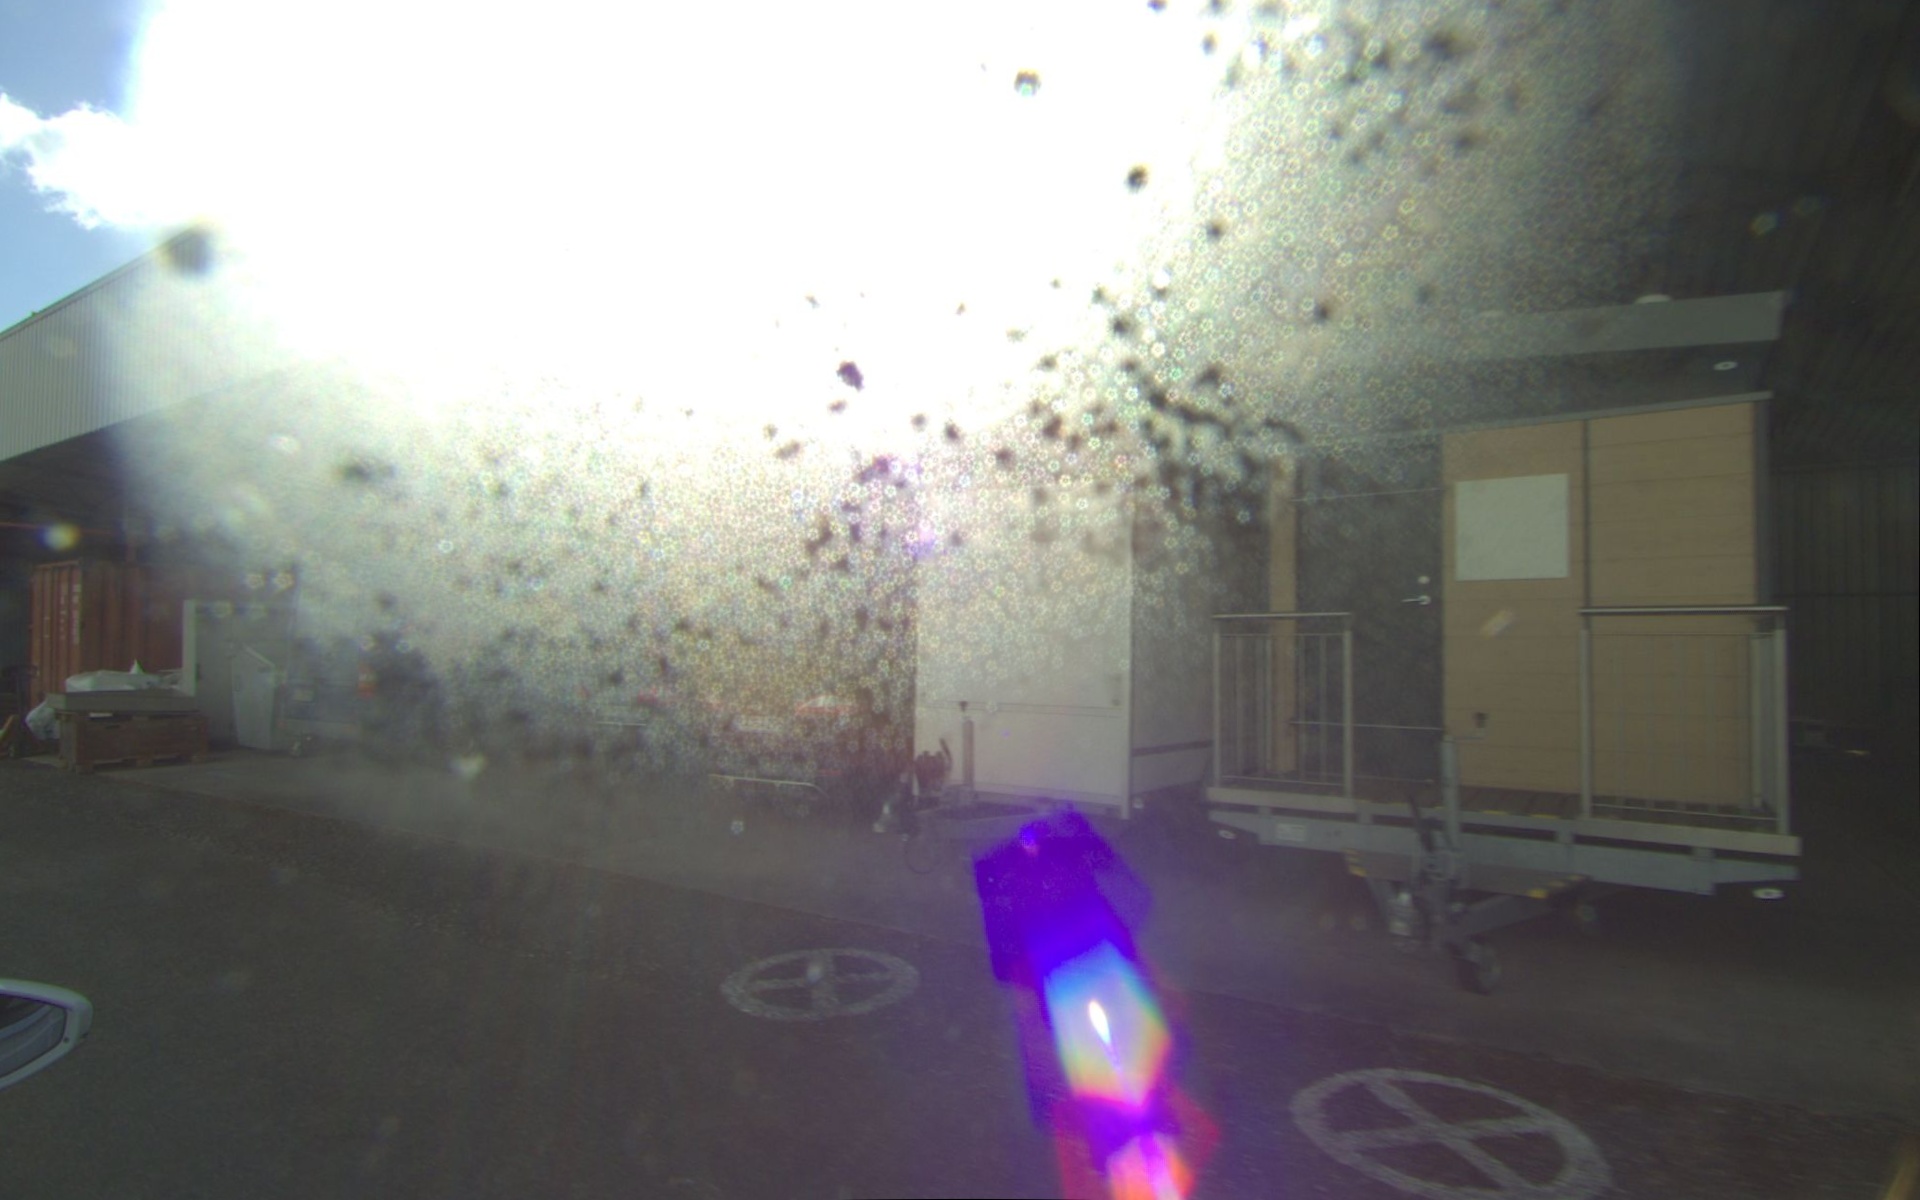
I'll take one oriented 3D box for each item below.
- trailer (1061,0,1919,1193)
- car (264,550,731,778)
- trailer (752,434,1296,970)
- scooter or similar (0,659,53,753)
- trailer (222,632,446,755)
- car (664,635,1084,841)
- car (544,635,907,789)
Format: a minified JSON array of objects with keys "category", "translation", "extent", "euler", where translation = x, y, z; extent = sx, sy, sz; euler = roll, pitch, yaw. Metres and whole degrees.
[{"category":"trailer","translation":[4.318,0.051,7.643],"extent":[2.638,3.337,10.272],"euler":[-1,-2,33]},{"category":"car","translation":[-5.593,0.789,12.955],"extent":[2.054,2.326,5.209],"euler":[-1,-3,32]},{"category":"trailer","translation":[0.823,0.523,6.783],"extent":[1.665,2.365,4.532],"euler":[-1,-2,33]},{"category":"scooter or similar","translation":[-12.354,1.336,12.944],"extent":[1.570,1.148,0.519],"euler":[-2,-3,33]},{"category":"trailer","translation":[-8.341,1.200,13.415],"extent":[1.620,1.480,2.089],"euler":[-2,-3,36]},{"category":"car","translation":[-0.512,1.059,9.445],"extent":[1.837,1.451,4.340],"euler":[-1,-2,30]},{"category":"car","translation":[-2.555,1.155,11.846],"extent":[1.824,1.472,4.100],"euler":[-1,-2,32]}]
